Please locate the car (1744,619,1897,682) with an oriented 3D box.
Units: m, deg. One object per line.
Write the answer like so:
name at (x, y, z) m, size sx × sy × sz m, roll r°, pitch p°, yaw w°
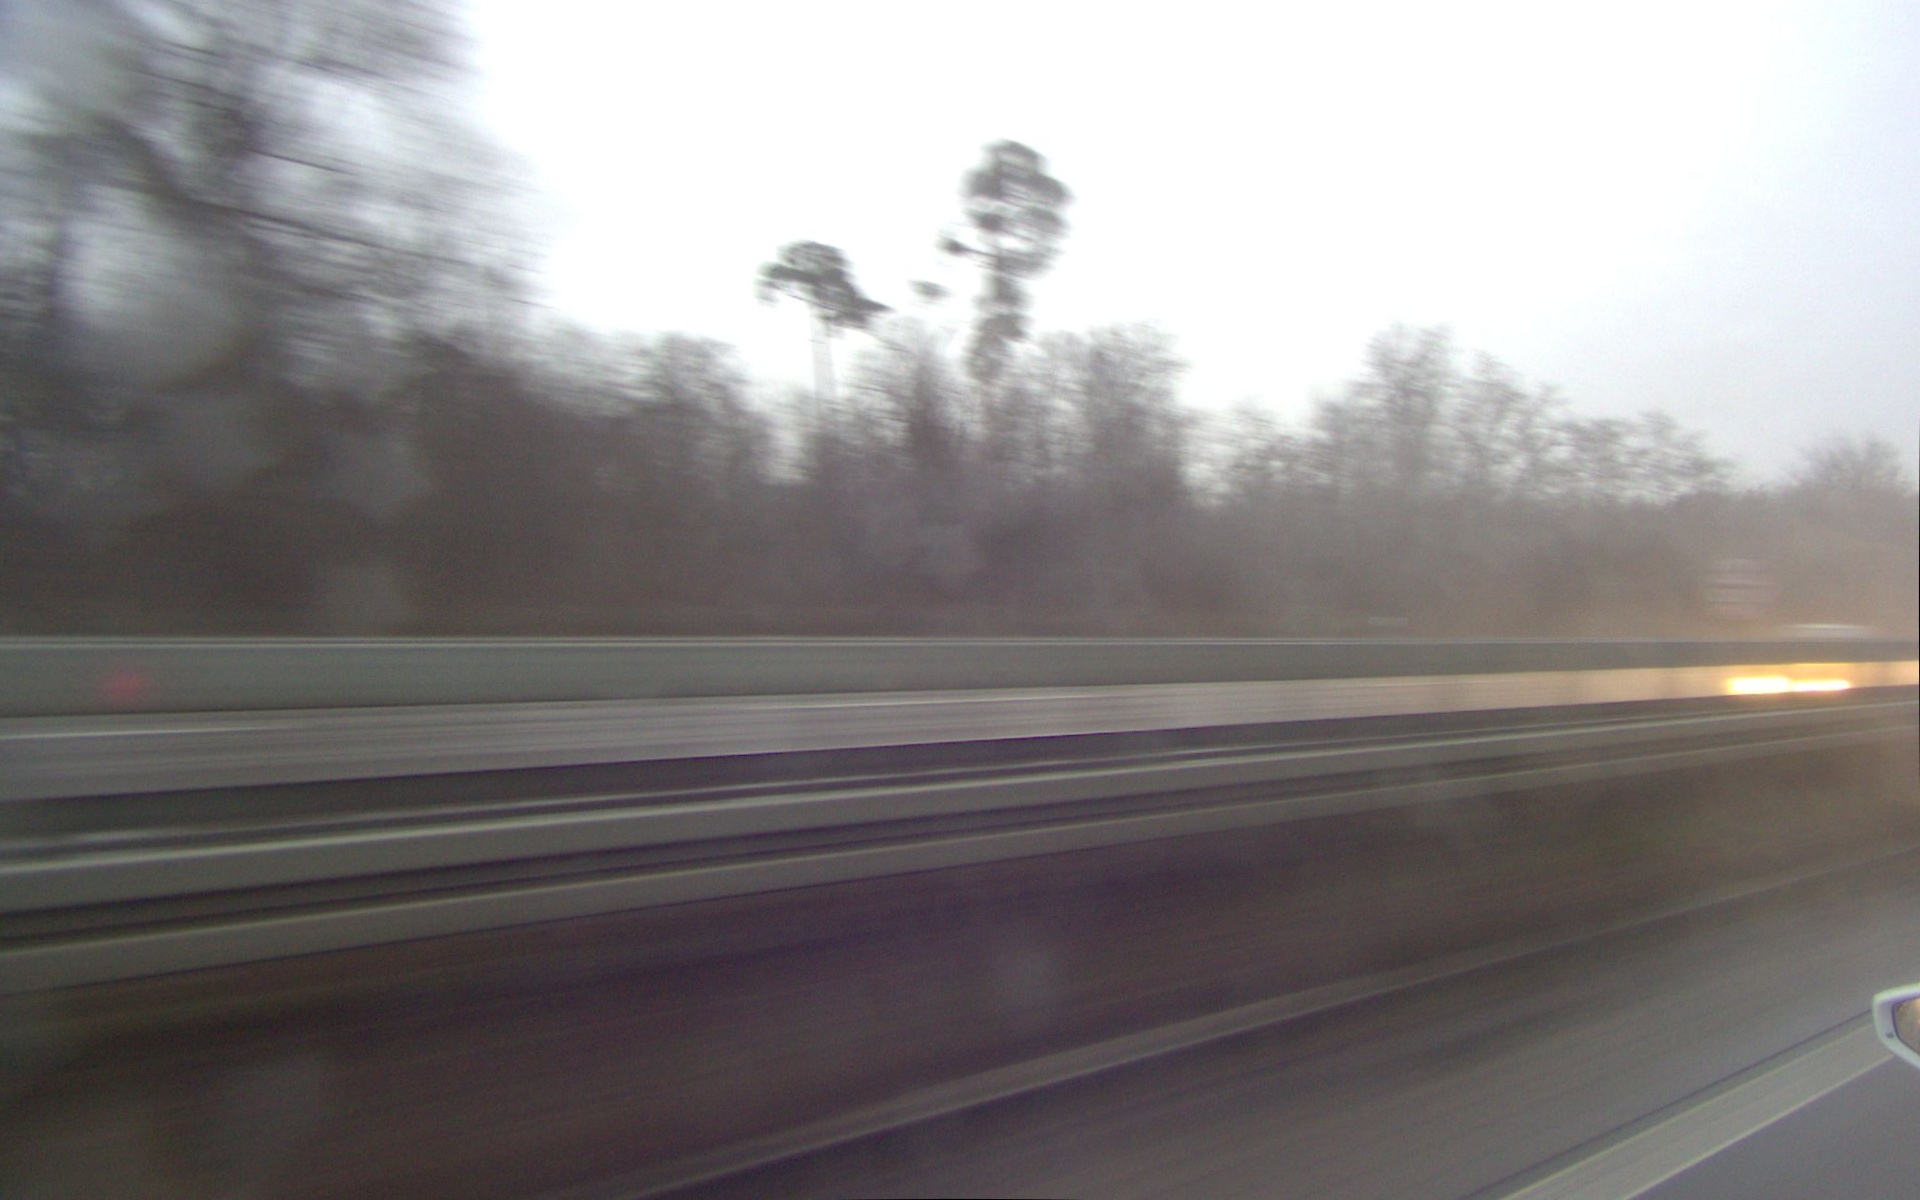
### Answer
car at (22.940, 1.314, 26.743) m, size 4.365 × 1.480 × 1.719 m, roll 2°, pitch 1°, yaw -30°
